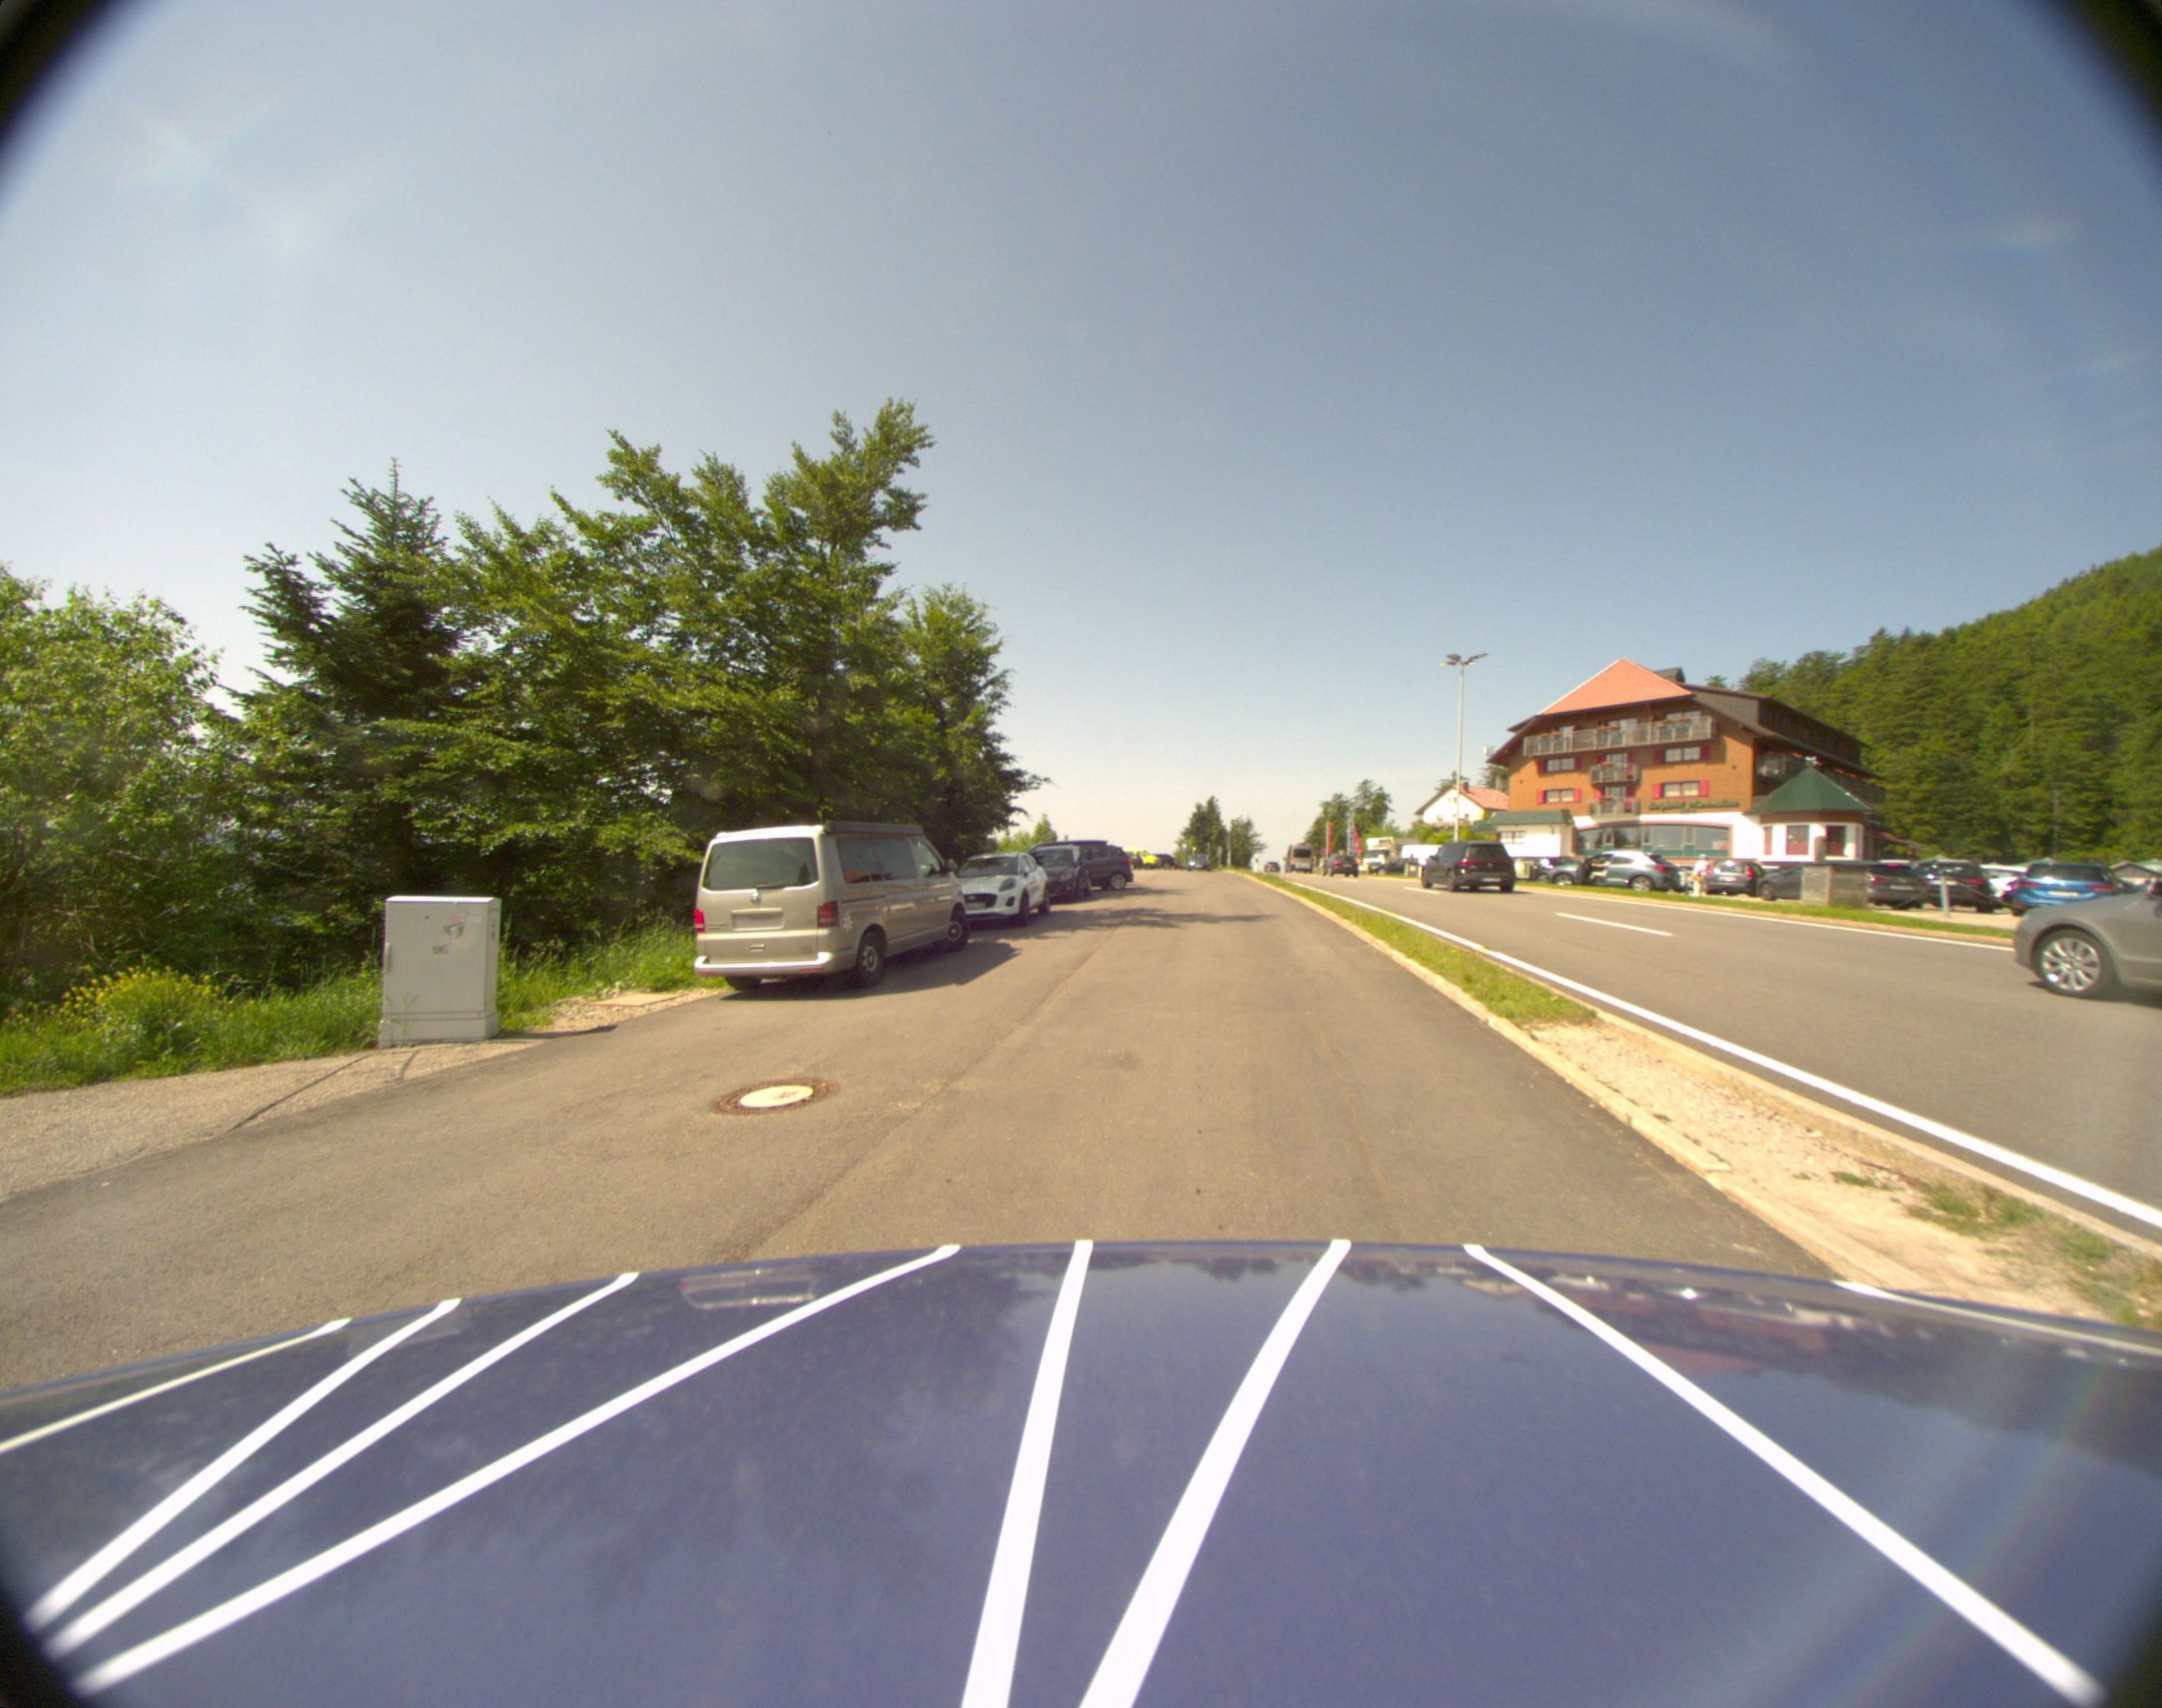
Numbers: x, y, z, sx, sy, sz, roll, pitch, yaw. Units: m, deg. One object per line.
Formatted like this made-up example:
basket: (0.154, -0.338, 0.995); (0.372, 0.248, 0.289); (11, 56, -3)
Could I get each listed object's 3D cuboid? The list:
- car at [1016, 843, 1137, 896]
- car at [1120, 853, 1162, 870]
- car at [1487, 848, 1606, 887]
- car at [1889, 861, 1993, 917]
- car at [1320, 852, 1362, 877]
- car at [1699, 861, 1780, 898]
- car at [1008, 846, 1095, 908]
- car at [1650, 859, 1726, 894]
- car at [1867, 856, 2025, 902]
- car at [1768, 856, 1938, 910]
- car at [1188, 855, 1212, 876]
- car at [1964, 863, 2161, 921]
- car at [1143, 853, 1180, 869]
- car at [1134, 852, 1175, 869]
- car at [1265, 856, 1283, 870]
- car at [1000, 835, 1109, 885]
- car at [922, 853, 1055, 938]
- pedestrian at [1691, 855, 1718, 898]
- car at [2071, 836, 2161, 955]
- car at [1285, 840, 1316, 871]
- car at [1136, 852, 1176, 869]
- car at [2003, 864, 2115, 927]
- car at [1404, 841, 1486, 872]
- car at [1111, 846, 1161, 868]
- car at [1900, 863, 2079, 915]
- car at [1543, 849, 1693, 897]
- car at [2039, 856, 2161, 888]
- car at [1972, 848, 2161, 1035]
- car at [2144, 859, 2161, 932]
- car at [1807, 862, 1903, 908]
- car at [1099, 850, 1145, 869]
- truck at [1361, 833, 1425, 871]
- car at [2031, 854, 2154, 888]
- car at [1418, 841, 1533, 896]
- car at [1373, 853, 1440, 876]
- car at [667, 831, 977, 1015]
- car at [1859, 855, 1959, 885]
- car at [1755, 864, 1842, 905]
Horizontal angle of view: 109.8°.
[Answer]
car: (-0.215, 0.527, 27.250); (4.000, 1.609, 1.874); (-3, 1, -11)
car: (5.850, 0.697, 73.842); (3.906, 1.605, 1.878); (1, 1, 11)
car: (21.360, 0.582, 35.022); (1.828, 1.619, 4.258); (0, 1, -39)
car: (28.064, 1.076, 24.779); (4.103, 1.619, 1.819); (0, 1, -36)
car: (16.733, 0.648, 49.121); (1.709, 1.429, 4.452); (1, 1, 8)
car: (29.309, 1.107, 33.799); (4.103, 1.504, 1.819); (0, 1, -36)
car: (-0.783, 0.616, 22.732); (1.874, 1.609, 4.002); (-3, 0, 8)
car: (29.086, 1.044, 36.377); (4.103, 1.504, 1.819); (0, 1, -36)
car: (34.739, 0.937, 30.621); (1.828, 1.619, 4.082); (0, 1, -39)
car: (23.589, 0.819, 23.445); (1.719, 1.422, 4.003); (1, 1, 12)
car: (9.641, 0.914, 61.550); (1.873, 1.605, 3.915); (1, 1, 8)
car: (32.238, 1.183, 24.984); (1.828, 1.619, 4.082); (0, 1, -39)
car: (8.832, 0.756, 83.004); (3.906, 1.605, 1.878); (1, 1, 11)
car: (7.415, 0.601, 76.474); (3.906, 1.605, 1.878); (1, 1, 11)
car: (24.846, 1.182, 97.868); (1.719, 1.672, 4.132); (1, 1, 8)
car: (-1.194, 0.246, 33.256); (4.461, 1.914, 1.874); (-3, 1, -11)
car: (-1.878, 0.800, 16.706); (1.874, 1.538, 4.002); (-3, 0, 8)
pedestrian: (23.640, 0.845, 28.835); (0.744, 1.615, 0.685); (2, 2, 38)
car: (16.743, 0.625, 9.911); (1.726, 1.646, 4.538); (0, 1, -40)
car: (20.192, 0.104, 70.096); (2.015, 2.735, 5.920); (1, 1, 9)
car: (7.793, 0.676, 79.060); (3.906, 1.605, 1.878); (1, 1, 11)
car: (28.480, 1.120, 22.098); (4.103, 1.619, 1.819); (0, 1, -36)
car: (34.893, 0.232, 72.915); (6.946, 2.775, 2.672); (1, 1, 27)
car: (5.130, 0.242, 70.687); (4.453, 1.914, 1.878); (1, 1, 11)
car: (33.261, 1.202, 27.949); (1.828, 1.619, 4.082); (0, 1, -39)
car: (20.263, 0.659, 28.803); (1.828, 1.619, 4.258); (0, 1, -39)
car: (61.201, 1.066, 45.398); (1.924, 1.706, 4.832); (0, 1, -38)
car: (9.393, 0.711, 5.109); (1.882, 1.466, 4.718); (-1, 1, 11)
car: (27.624, 1.012, 18.430); (4.103, 1.706, 1.915); (0, 1, -38)
car: (28.256, 1.074, 27.699); (4.103, 1.504, 1.819); (0, 1, -36)
car: (3.667, 0.492, 68.164); (3.906, 1.605, 1.878); (1, 1, 11)
truck: (33.193, -0.178, 80.580); (9.036, 3.798, 2.876); (0, -1, -44)
car: (57.601, 0.930, 43.379); (1.924, 1.706, 4.083); (0, 1, -38)
car: (12.889, 0.410, 25.185); (1.997, 1.638, 4.570); (1, 1, 9)
car: (23.763, 0.721, 55.523); (1.828, 1.518, 4.082); (0, 1, -43)
car: (-3.138, 0.745, 10.462); (1.860, 1.924, 4.613); (-3, 0, 12)
car: (52.606, 0.988, 48.353); (1.924, 1.706, 4.083); (0, 1, -38)
car: (29.302, 1.199, 30.989); (4.103, 1.504, 1.819); (0, 1, -36)
